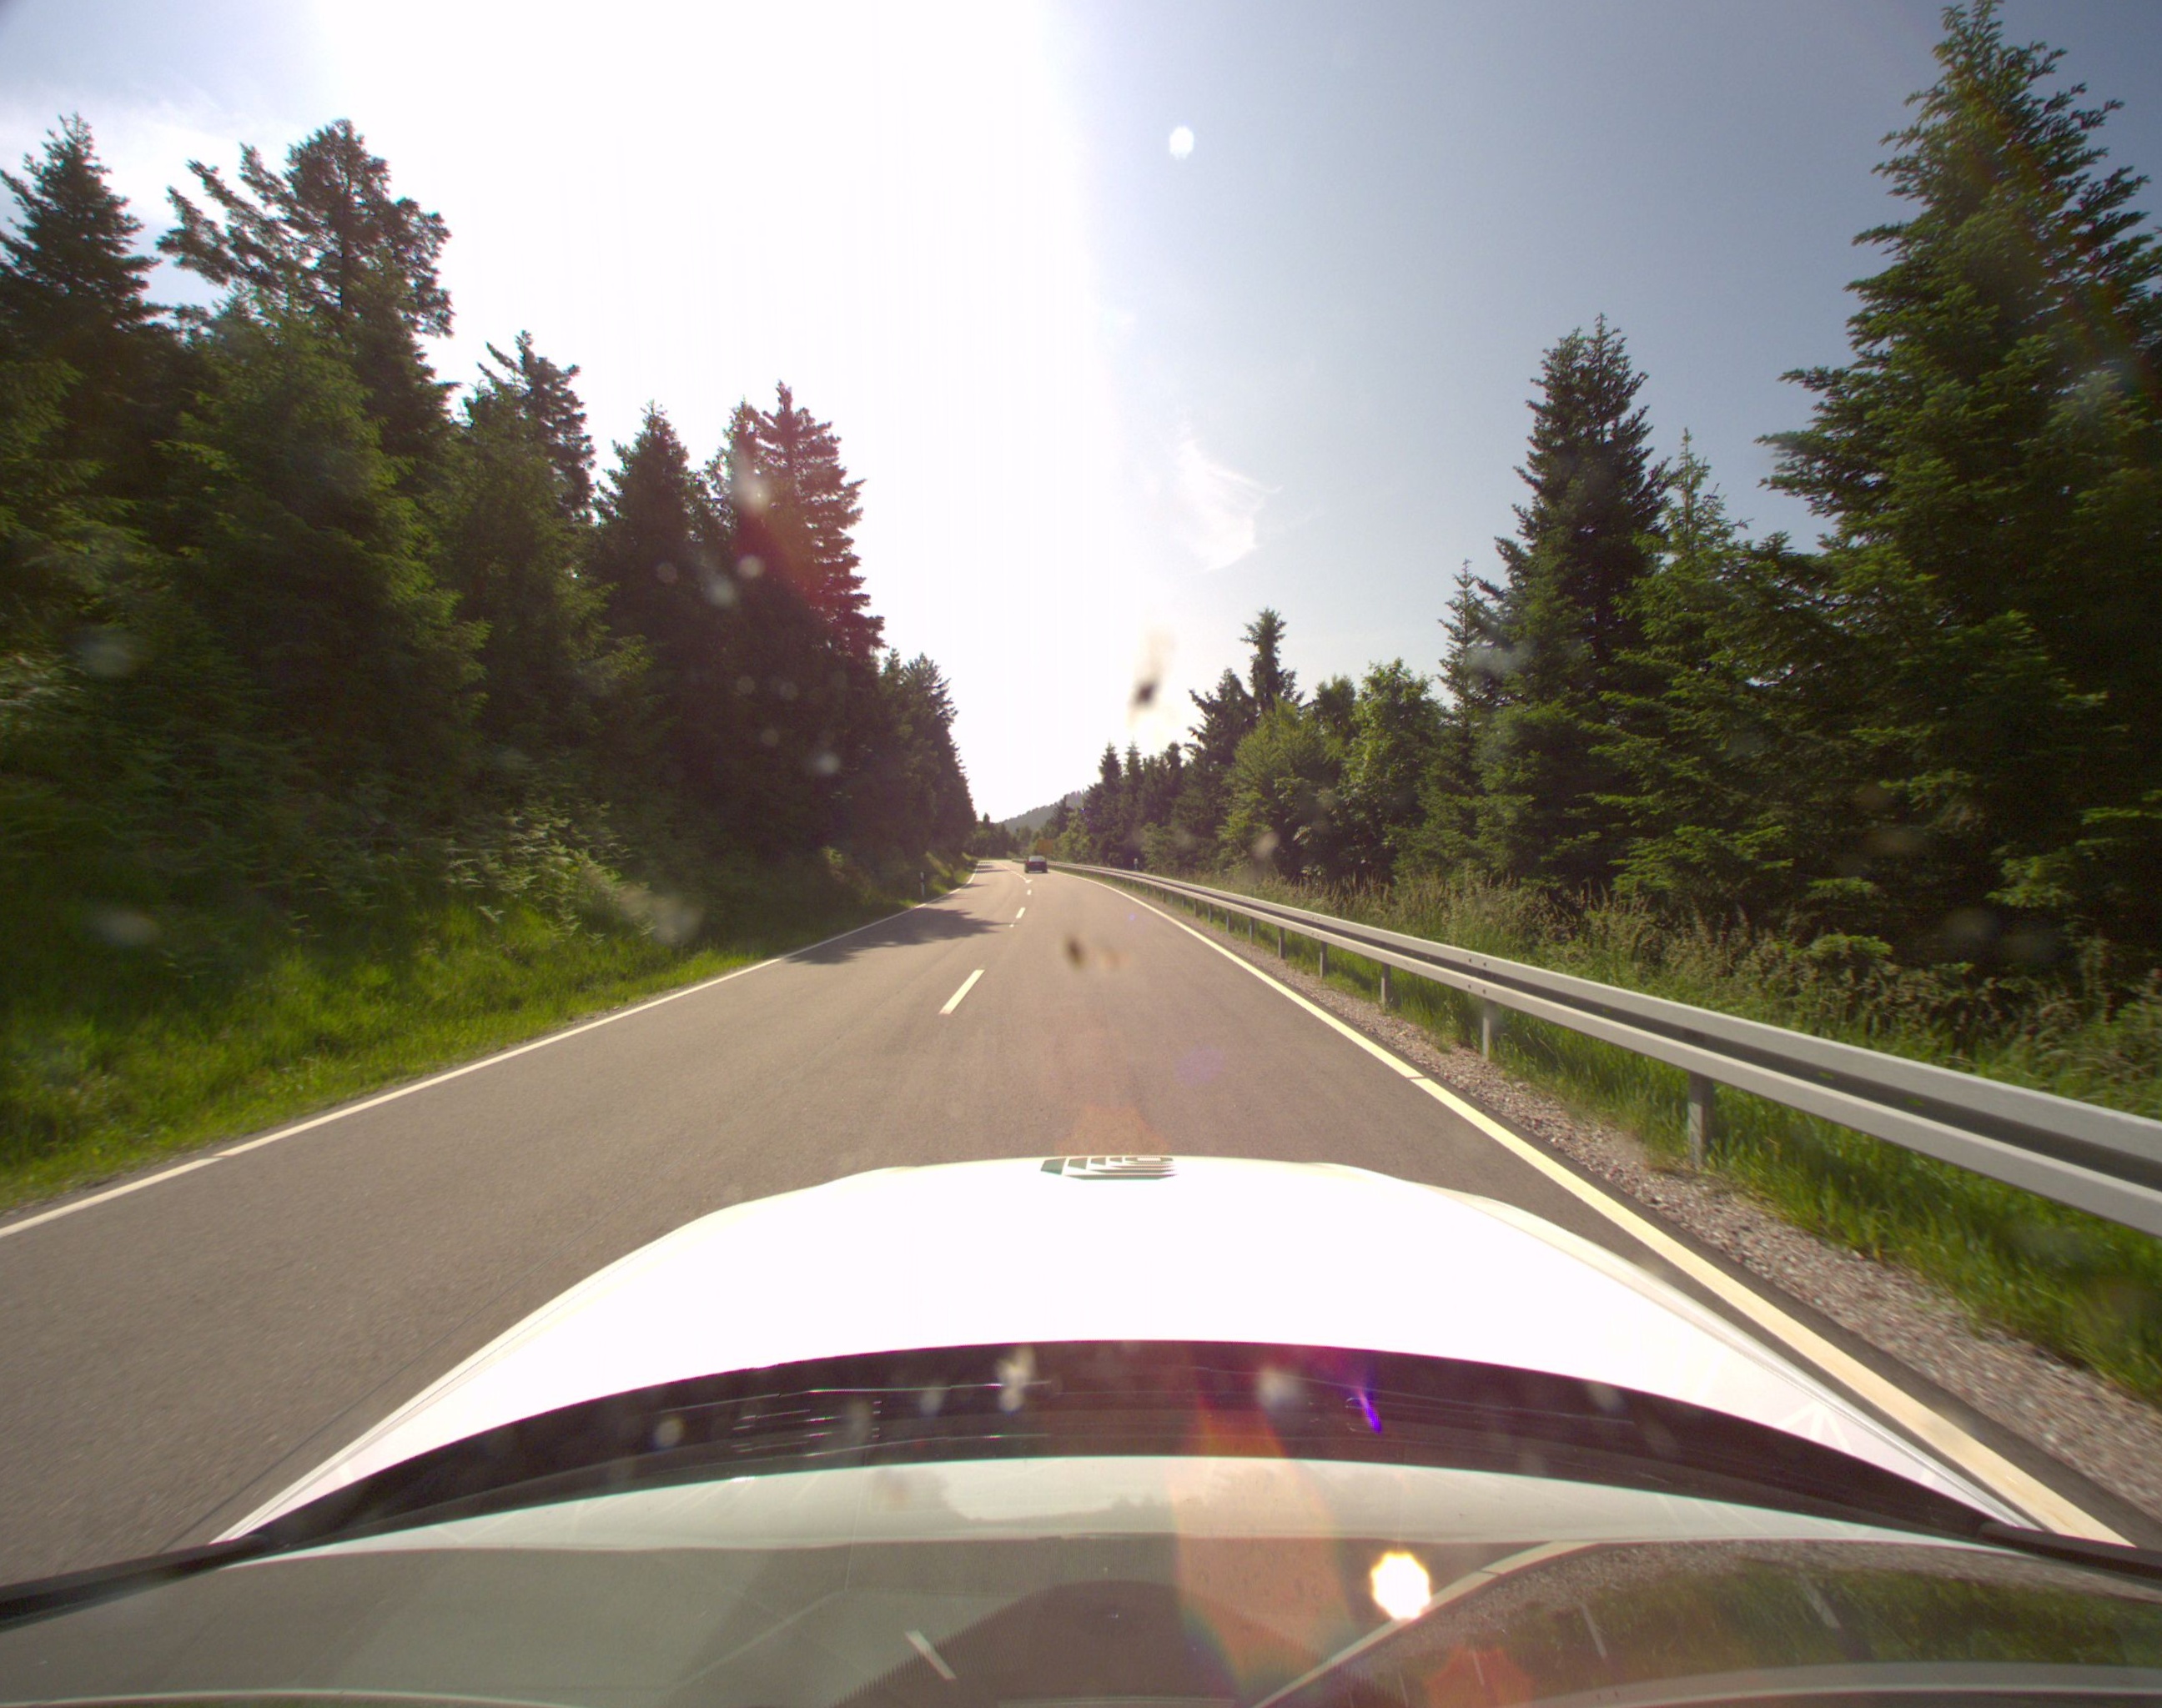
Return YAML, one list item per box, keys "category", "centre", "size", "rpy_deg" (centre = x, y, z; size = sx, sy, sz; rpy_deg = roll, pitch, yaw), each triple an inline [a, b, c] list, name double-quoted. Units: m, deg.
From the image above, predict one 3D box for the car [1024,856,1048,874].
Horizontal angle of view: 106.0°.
- category: "car"
  centre: [-3.839, 0.926, 68.847]
  size: [1.774, 1.442, 3.700]
  rpy_deg: [-3, 0, -6]
